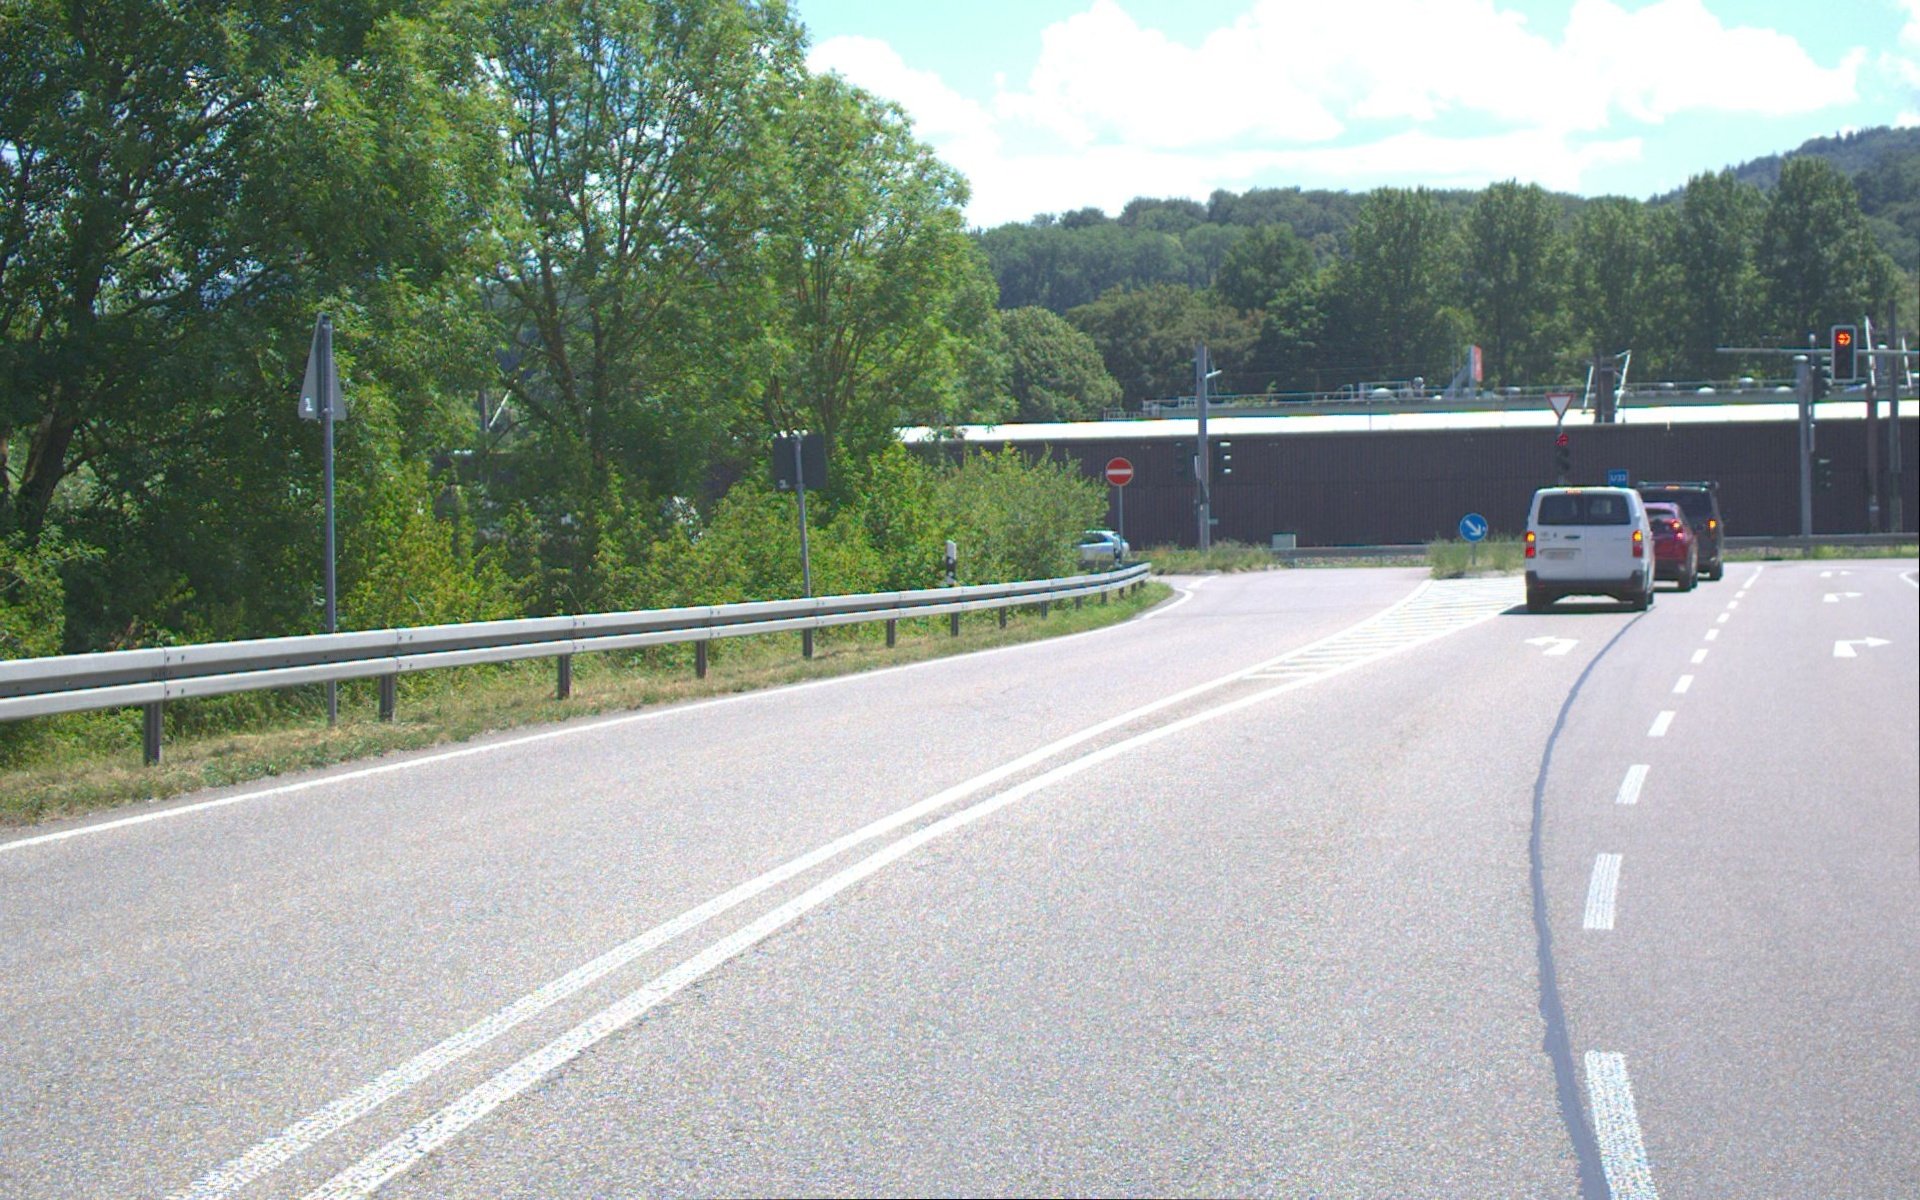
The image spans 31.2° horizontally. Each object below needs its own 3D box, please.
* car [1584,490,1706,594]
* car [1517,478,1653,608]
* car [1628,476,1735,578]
[{"bbox_3d":[12.889,-1.097,64.520,1.995,1.806,3.998,-2,1,14],"label":"car"},{"bbox_3d":[9.836,-0.909,53.902,1.871,1.958,3.998,0,1,14],"label":"car"},{"bbox_3d":[15.204,-1.541,72.328,1.995,2.006,3.998,-2,1,14],"label":"car"}]
